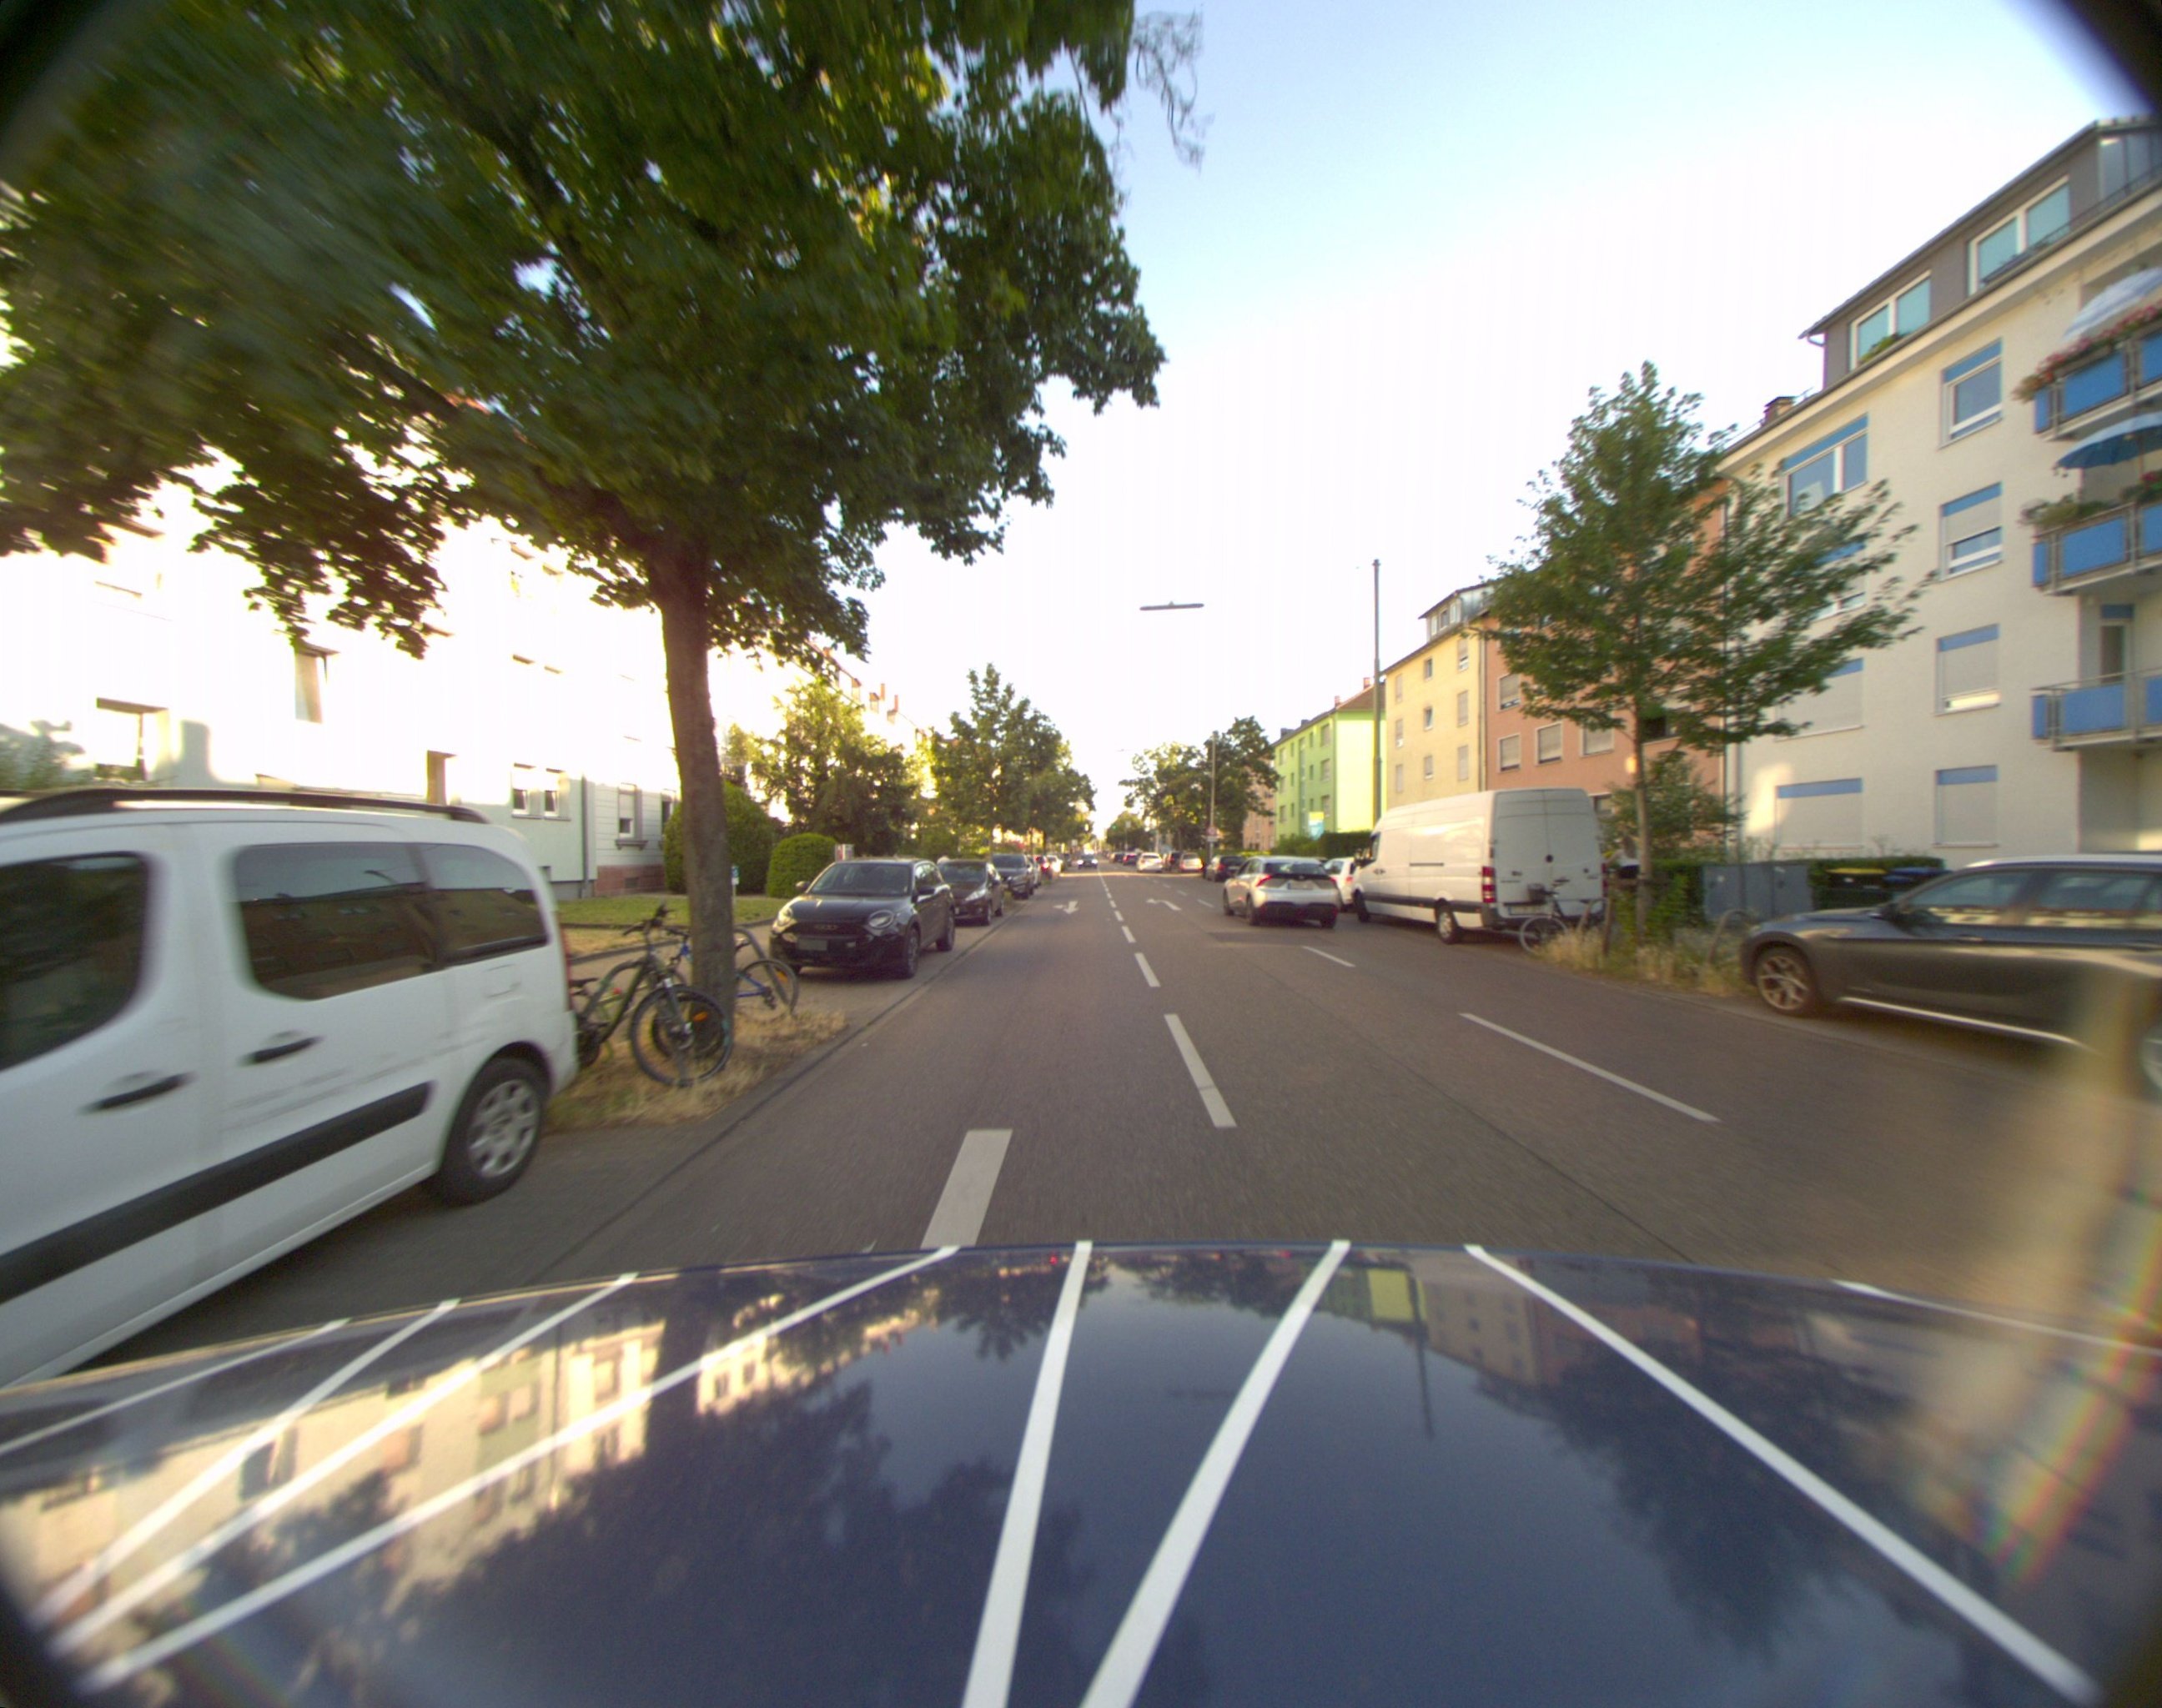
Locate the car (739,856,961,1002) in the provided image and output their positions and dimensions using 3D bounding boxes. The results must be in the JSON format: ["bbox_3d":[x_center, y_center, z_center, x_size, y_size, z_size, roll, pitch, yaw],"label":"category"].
[{"bbox_3d":[-3.044,0.885,11.018,1.758,1.653,4.252,0,1,2],"label":"car"}]

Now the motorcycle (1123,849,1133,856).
[{"bbox_3d":[9.732,-0.286,158.387,1.263,1.526,2.887,-1,1,-13],"label":"motorcycle"}]

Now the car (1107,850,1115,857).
[{"bbox_3d":[7.700,-0.155,191.909,1.866,1.819,5.228,1,1,4],"label":"car"}]

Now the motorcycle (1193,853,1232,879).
[{"bbox_3d":[7.776,0.694,44.944,2.031,1.381,0.988,-3,2,-31],"label":"motorcycle"}]

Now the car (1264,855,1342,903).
[{"bbox_3d":[7.726,0.823,26.751,1.616,1.464,3.812,-3,0,1],"label":"car"}]

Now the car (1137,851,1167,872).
[{"bbox_3d":[5.577,0.571,60.104,1.884,1.534,4.266,0,0,-1],"label":"car"}]

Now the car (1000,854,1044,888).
[{"bbox_3d":[-2.751,0.745,36.136,1.722,1.485,4.393,-1,0,0],"label":"car"}]

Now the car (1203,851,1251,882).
[{"bbox_3d":[7.803,0.633,41.010,1.783,1.496,4.588,-1,0,1],"label":"car"}]

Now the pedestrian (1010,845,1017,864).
[{"bbox_3d":[-5.856,0.030,65.826,0.512,1.687,0.527,-1,1,-4],"label":"pedestrian"}]

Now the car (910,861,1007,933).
[{"bbox_3d":[-2.798,0.931,18.114,1.617,1.457,3.958,0,0,0],"label":"car"}]

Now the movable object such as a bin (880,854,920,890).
[{"bbox_3d":[-7.682,0.754,32.374,1.269,1.484,1.140,2,1,11],"label":"movable object such as a bin"}]

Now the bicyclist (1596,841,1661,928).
[{"bbox_3d":[10.203,0.548,14.196,0.604,1.584,0.940,0,1,8],"label":"bicyclist"}]

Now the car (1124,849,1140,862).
[{"bbox_3d":[6.051,0.199,89.831,1.703,1.462,4.295,0,1,6],"label":"car"}]

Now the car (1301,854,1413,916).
[{"bbox_3d":[7.663,0.796,21.513,1.711,1.483,4.058,-3,0,1],"label":"car"}]

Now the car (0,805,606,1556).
[{"bbox_3d":[-3.519,0.812,1.960,1.805,1.798,4.423,-2,0,-1],"label":"car"}]

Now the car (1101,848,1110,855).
[{"bbox_3d":[5.602,-0.523,173.657,1.841,1.465,4.671,1,1,1],"label":"car"}]

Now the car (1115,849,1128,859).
[{"bbox_3d":[5.561,-0.040,104.742,1.704,1.395,4.027,1,0,1],"label":"car"}]

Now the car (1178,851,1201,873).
[{"bbox_3d":[8.259,0.585,58.022,1.502,1.607,2.862,-1,1,4],"label":"car"}]

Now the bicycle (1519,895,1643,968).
[{"bbox_3d":[7.375,1.143,11.252,1.475,1.009,0.440,-2,1,8],"label":"bicycle"}]

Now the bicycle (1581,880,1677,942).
[{"bbox_3d":[10.211,1.026,14.234,0.622,1.009,1.953,0,1,8],"label":"bicycle"}]

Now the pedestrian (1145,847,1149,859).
[{"bbox_3d":[11.016,-0.133,126.826,0.645,2.002,0.814,-2,2,2],"label":"pedestrian"}]

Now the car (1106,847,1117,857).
[{"bbox_3d":[6.002,-0.435,151.113,1.998,1.935,4.777,1,1,1],"label":"car"}]

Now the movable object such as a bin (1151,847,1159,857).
[{"bbox_3d":[13.858,-0.395,142.735,1.309,1.649,1.180,-4,2,0],"label":"movable object such as a bin"}]

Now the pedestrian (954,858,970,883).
[{"bbox_3d":[-6.166,0.847,39.393,0.674,1.227,0.790,-1,1,1],"label":"pedestrian"}]

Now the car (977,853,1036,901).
[{"bbox_3d":[-2.643,0.781,27.860,1.722,1.592,4.096,-1,0,0],"label":"car"}]

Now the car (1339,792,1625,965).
[{"bbox_3d":[7.356,0.360,15.207,1.998,2.601,7.105,-2,0,1],"label":"car"}]

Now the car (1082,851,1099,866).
[{"bbox_3d":[0.950,0.445,75.875,1.641,1.482,4.415,0,0,0],"label":"car"}]

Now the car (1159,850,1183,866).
[{"bbox_3d":[8.523,0.353,71.980,1.687,1.512,4.190,-1,0,-1],"label":"car"}]

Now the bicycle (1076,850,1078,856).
[{"bbox_3d":[-0.714,-0.242,144.354,0.325,1.138,1.799,-1,1,-4],"label":"bicycle"}]

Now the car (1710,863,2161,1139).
[{"bbox_3d":[7.296,0.897,5.635,1.676,1.534,4.473,-2,0,2],"label":"car"}]

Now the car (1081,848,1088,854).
[{"bbox_3d":[0.981,-0.887,214.114,1.744,1.509,3.811,-1,1,3],"label":"car"}]

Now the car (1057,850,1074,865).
[{"bbox_3d":[-1.741,0.333,86.080,1.796,1.622,4.029,0,0,0],"label":"car"}]

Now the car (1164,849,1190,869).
[{"bbox_3d":[8.430,0.408,66.929,1.788,1.723,4.617,-1,1,1],"label":"car"}]

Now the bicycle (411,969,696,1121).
[{"bbox_3d":[-3.506,1.263,5.137,1.557,0.864,0.393,-1,1,-8],"label":"bicycle"}]

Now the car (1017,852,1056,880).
[{"bbox_3d":[-2.626,0.678,46.139,1.879,1.572,4.821,1,1,2],"label":"car"}]

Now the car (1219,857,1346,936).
[{"bbox_3d":[4.412,0.864,17.269,1.785,1.486,3.970,1,1,0],"label":"car"}]

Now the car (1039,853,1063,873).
[{"bbox_3d":[-2.280,0.658,58.059,1.641,1.482,4.415,0,0,0],"label":"car"}]

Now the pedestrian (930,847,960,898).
[{"bbox_3d":[-4.596,0.622,25.746,0.789,1.691,0.808,-1,1,5],"label":"pedestrian"}]

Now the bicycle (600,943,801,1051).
[{"bbox_3d":[-3.339,1.251,6.730,1.556,0.864,0.393,0,1,-2],"label":"bicycle"}]

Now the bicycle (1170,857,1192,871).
[{"bbox_3d":[8.319,0.842,63.310,1.679,1.083,0.560,-2,1,2],"label":"bicycle"}]

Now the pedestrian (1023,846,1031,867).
[{"bbox_3d":[-4.654,0.196,65.799,0.549,1.839,0.765,-1,1,8],"label":"pedestrian"}]
